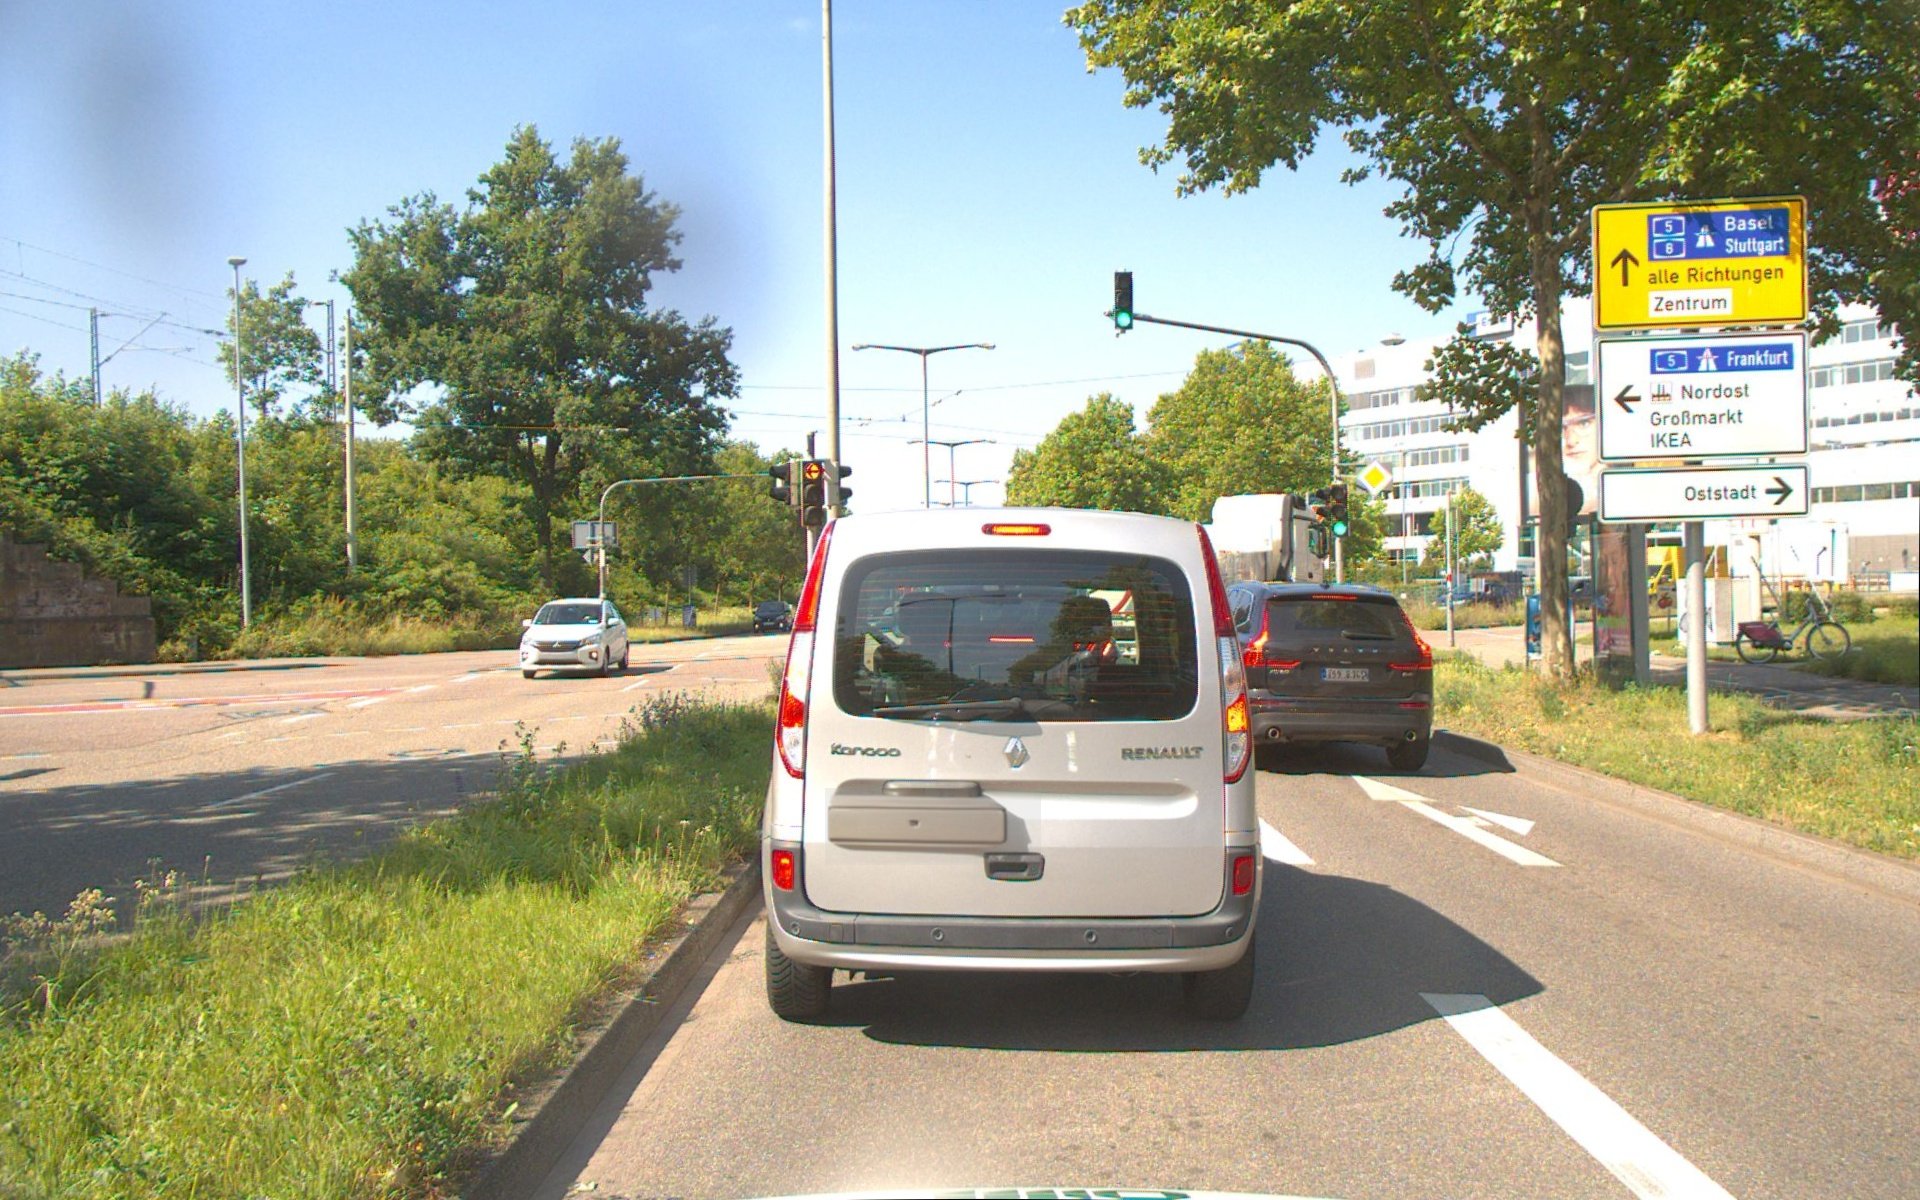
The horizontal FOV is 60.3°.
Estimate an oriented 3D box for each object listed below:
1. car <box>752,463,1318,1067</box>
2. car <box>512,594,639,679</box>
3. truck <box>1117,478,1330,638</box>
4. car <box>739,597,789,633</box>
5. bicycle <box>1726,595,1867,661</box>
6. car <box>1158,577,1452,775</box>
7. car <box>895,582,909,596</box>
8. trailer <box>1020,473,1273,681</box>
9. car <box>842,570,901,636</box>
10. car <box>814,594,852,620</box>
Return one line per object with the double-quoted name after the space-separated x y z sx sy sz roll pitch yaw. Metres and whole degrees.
0.212 0.527 7.196 1.750 1.870 3.999 1 0 -1 "car"
-7.695 0.683 33.462 1.665 1.534 3.999 -1 1 -1 "car"
6.879 -0.947 42.203 2.857 3.707 7.172 1 0 31 "truck"
-9.534 0.732 80.675 1.872 1.670 3.738 -1 0 2 "car"
13.694 0.459 27.132 1.959 1.031 0.621 -1 0 16 "bicycle"
3.141 0.644 15.972 1.837 1.619 4.432 1 0 -1 "car"
-8.759 -1.604 250.724 1.849 2.049 4.001 1 0 1 "car"
4.457 -0.373 35.691 2.839 3.686 12.690 1 0 18 "trailer"
-3.680 0.130 69.584 1.952 2.653 5.135 -1 0 2 "car"
-8.190 0.459 107.266 1.952 1.567 4.237 -1 0 2 "car"
